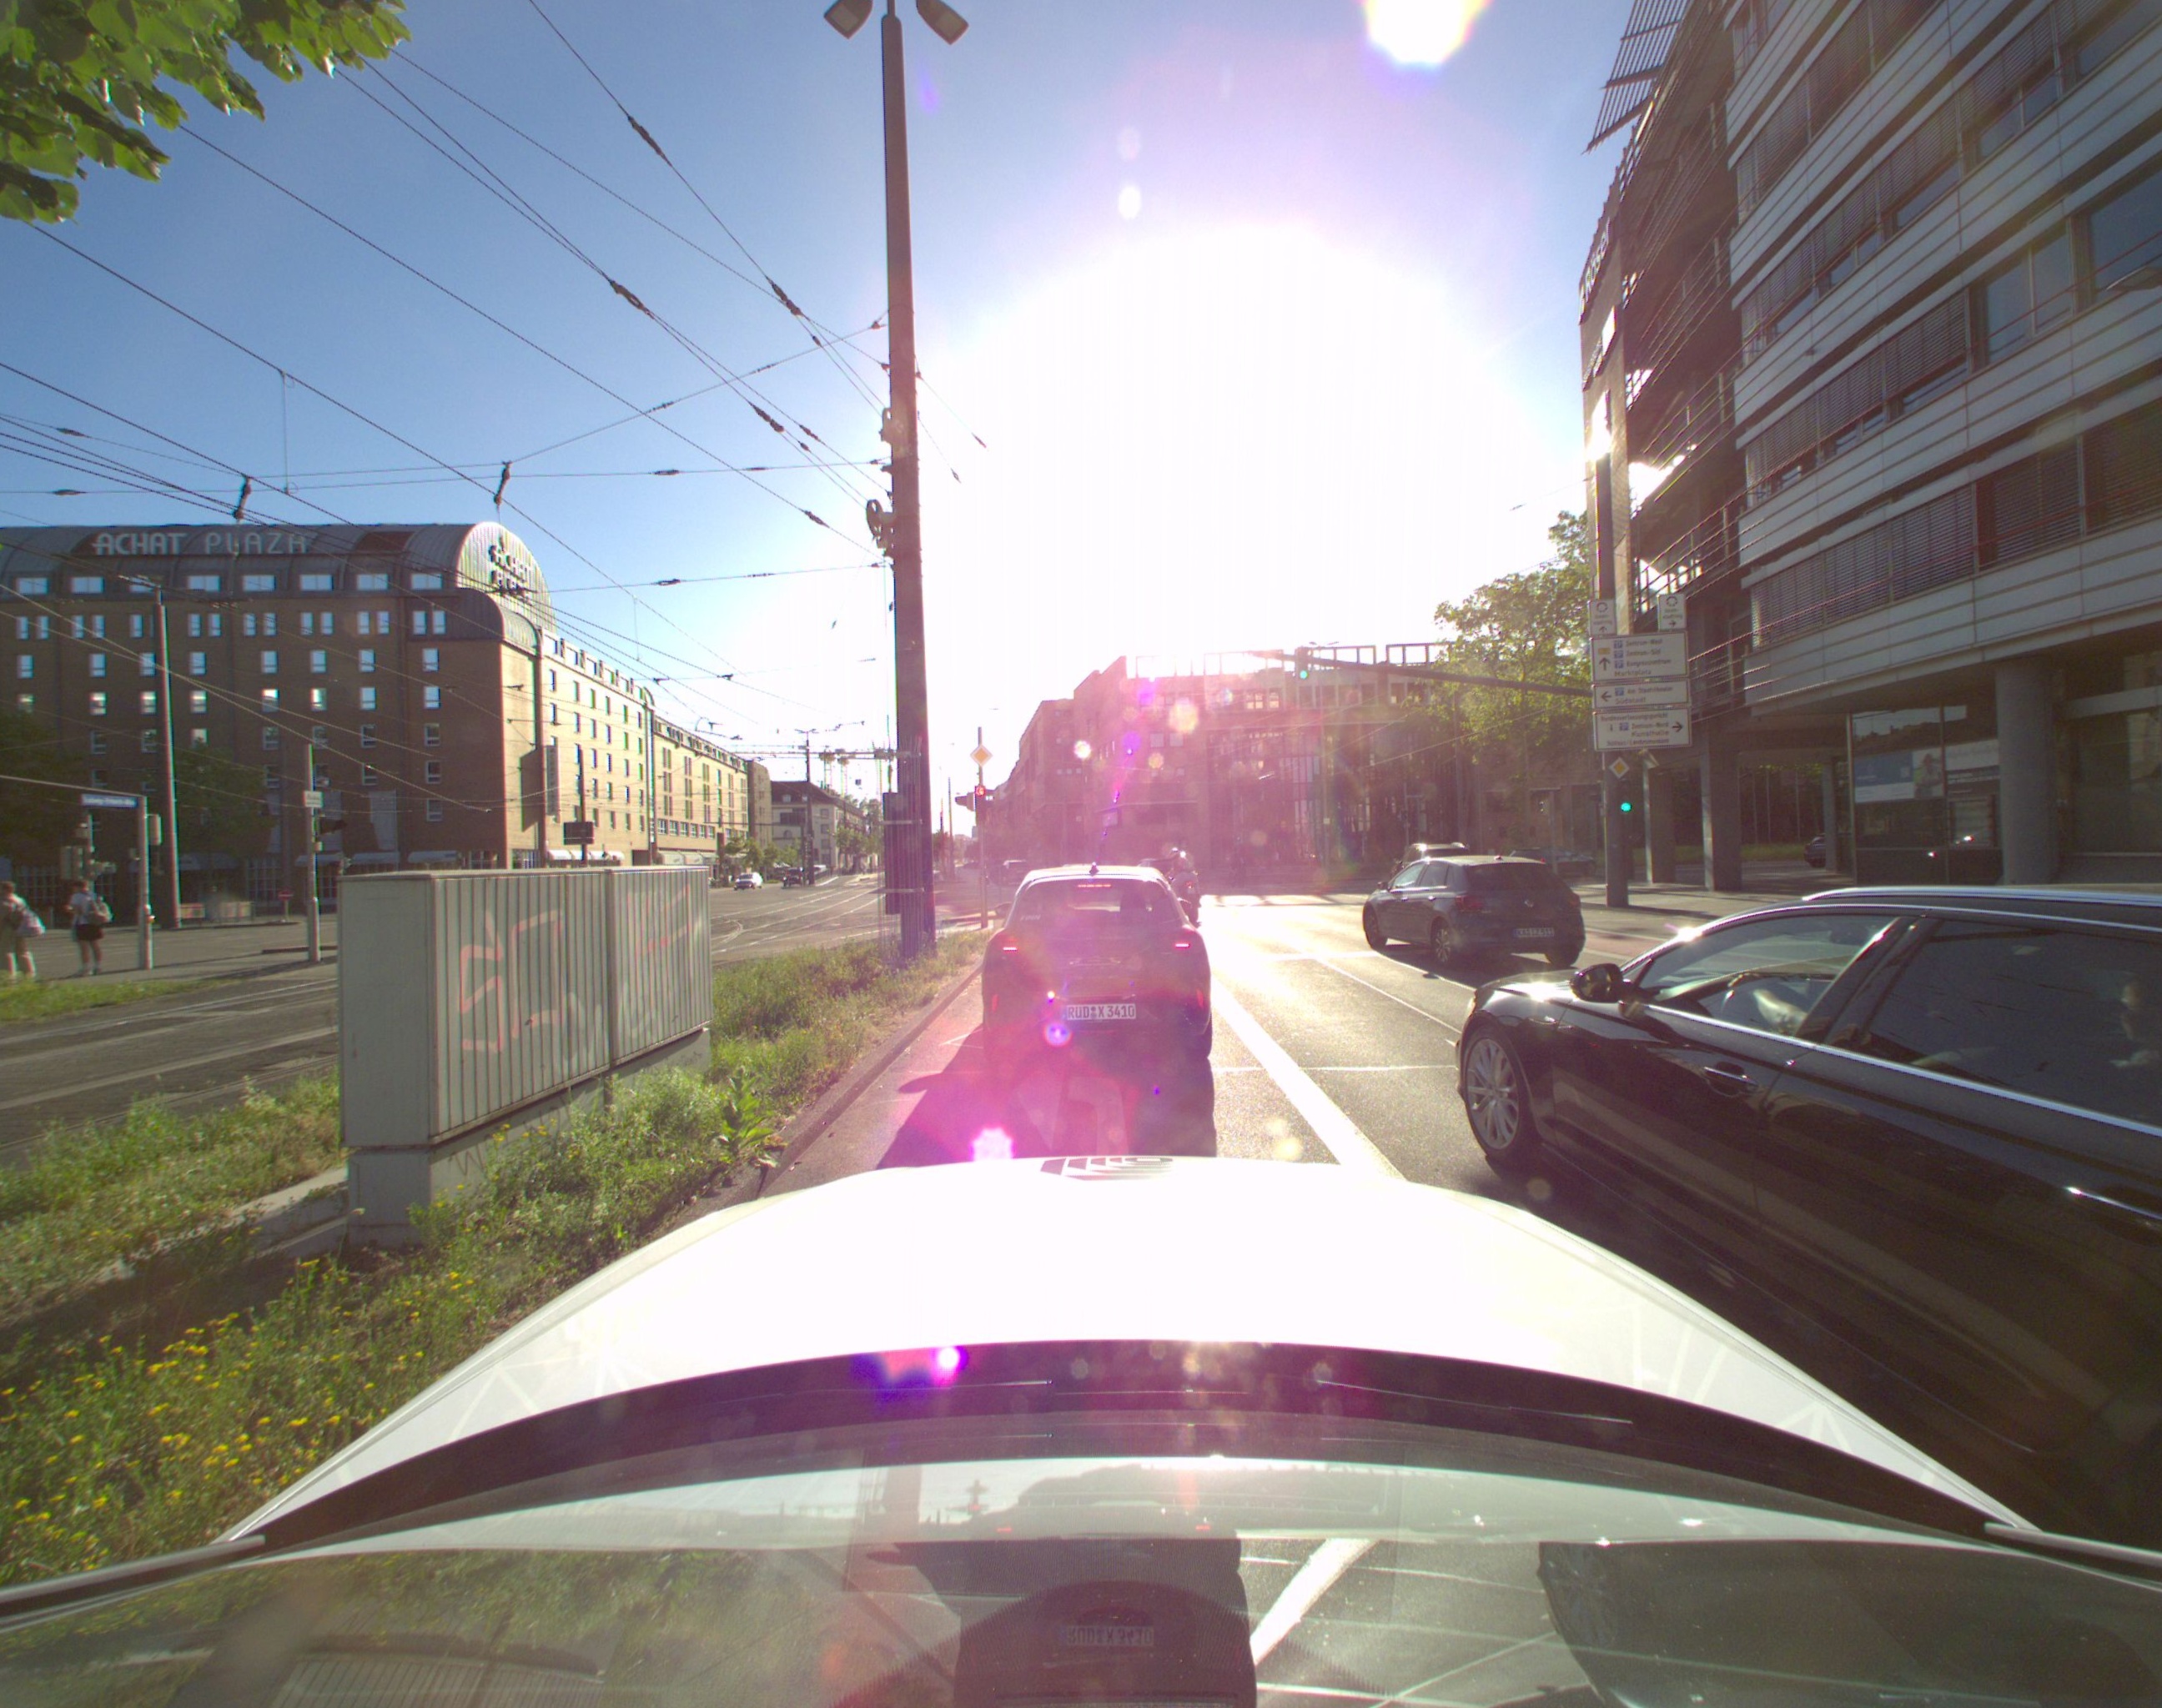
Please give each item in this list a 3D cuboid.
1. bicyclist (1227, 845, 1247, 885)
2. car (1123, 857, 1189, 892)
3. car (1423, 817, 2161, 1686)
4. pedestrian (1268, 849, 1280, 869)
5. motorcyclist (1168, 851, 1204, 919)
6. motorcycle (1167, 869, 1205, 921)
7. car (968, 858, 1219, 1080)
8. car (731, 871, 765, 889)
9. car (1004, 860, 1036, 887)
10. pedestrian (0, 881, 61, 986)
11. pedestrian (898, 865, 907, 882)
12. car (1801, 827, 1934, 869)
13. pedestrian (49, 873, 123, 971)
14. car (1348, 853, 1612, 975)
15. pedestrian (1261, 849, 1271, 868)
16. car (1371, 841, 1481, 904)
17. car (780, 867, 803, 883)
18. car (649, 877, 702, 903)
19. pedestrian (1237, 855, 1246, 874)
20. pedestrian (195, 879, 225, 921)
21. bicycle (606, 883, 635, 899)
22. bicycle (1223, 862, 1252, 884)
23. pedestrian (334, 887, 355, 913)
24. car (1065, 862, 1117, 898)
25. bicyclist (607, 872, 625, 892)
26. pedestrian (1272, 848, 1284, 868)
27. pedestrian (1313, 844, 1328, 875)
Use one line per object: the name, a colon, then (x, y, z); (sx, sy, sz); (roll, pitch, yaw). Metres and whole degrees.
bicyclist: (7.195, 0.503, 37.581); (0.577, 1.791, 0.861); (-2, 0, -10)
car: (3.266, 0.872, 36.301); (1.809, 1.457, 3.983); (-1, 0, -12)
car: (2.812, 0.674, 2.415); (1.804, 1.492, 4.499); (-4, -1, 3)
pedestrian: (16.049, 0.448, 67.655); (0.894, 1.617, 0.562); (-2, 0, 10)
motorcyclist: (2.428, 0.700, 18.949); (0.741, 1.530, 1.022); (-2, 0, 4)
motorcycle: (2.481, 0.939, 19.400); (0.771, 1.115, 1.972); (-2, 0, 5)
car: (0.188, 0.787, 7.465); (1.642, 1.433, 4.003); (-2, 0, 3)
car: (-30.041, 2.335, 73.558); (1.569, 1.449, 3.996); (-2, 0, -3)
car: (-4.038, 1.245, 53.670); (1.737, 1.651, 3.987); (-2, 0, -9)
pedestrian: (-19.305, 1.428, 14.809); (0.630, 1.830, 0.662); (-2, 0, -5)
pedestrian: (-16.917, 1.843, 77.291); (0.765, 1.640, 0.742); (-2, 0, -9)
car: (32.656, -0.229, 33.881); (3.981, 1.651, 1.861); (-1, 0, -6)
pedestrian: (-19.302, 1.300, 15.807); (0.562, 1.817, 0.662); (-2, 0, -5)
car: (5.501, 0.729, 11.875); (1.802, 1.457, 3.997); (-1, 0, -2)
pedestrian: (15.812, 0.386, 69.687); (0.733, 1.617, 0.562); (-2, 0, 10)
car: (10.750, 0.530, 25.747); (1.984, 1.750, 4.336); (-2, 0, 6)
car: (-28.236, 2.017, 79.592); (1.748, 1.505, 3.860); (-2, 0, -15)
car: (-27.604, 2.413, 55.611); (1.995, 1.596, 4.720); (-2, 0, -11)
pedestrian: (12.321, 0.818, 62.397); (0.527, 1.430, 0.598); (-2, 0, 1)
pedestrian: (-42.912, 2.279, 40.123); (0.663, 2.013, 0.678); (-2, 0, 2)
bicycle: (-33.407, 2.670, 59.112); (0.649, 1.085, 2.920); (-2, 0, -6)
bicycle: (7.202, 0.863, 37.580); (0.492, 0.997, 2.319); (-2, 0, -10)
pedestrian: (-45.121, 2.816, 49.901); (0.674, 1.503, 0.659); (-2, 0, -1)
car: (0.347, 1.057, 34.056); (1.735, 1.349, 3.992); (-2, 0, -6)
bicyclist: (-33.390, 1.990, 58.530); (0.756, 1.375, 0.949); (-2, 0, -6)
pedestrian: (16.510, 0.333, 68.411); (0.894, 1.617, 0.562); (-2, 0, 10)
pedestrian: (13.859, 0.327, 47.167); (0.700, 1.759, 0.564); (-2, -1, 27)
